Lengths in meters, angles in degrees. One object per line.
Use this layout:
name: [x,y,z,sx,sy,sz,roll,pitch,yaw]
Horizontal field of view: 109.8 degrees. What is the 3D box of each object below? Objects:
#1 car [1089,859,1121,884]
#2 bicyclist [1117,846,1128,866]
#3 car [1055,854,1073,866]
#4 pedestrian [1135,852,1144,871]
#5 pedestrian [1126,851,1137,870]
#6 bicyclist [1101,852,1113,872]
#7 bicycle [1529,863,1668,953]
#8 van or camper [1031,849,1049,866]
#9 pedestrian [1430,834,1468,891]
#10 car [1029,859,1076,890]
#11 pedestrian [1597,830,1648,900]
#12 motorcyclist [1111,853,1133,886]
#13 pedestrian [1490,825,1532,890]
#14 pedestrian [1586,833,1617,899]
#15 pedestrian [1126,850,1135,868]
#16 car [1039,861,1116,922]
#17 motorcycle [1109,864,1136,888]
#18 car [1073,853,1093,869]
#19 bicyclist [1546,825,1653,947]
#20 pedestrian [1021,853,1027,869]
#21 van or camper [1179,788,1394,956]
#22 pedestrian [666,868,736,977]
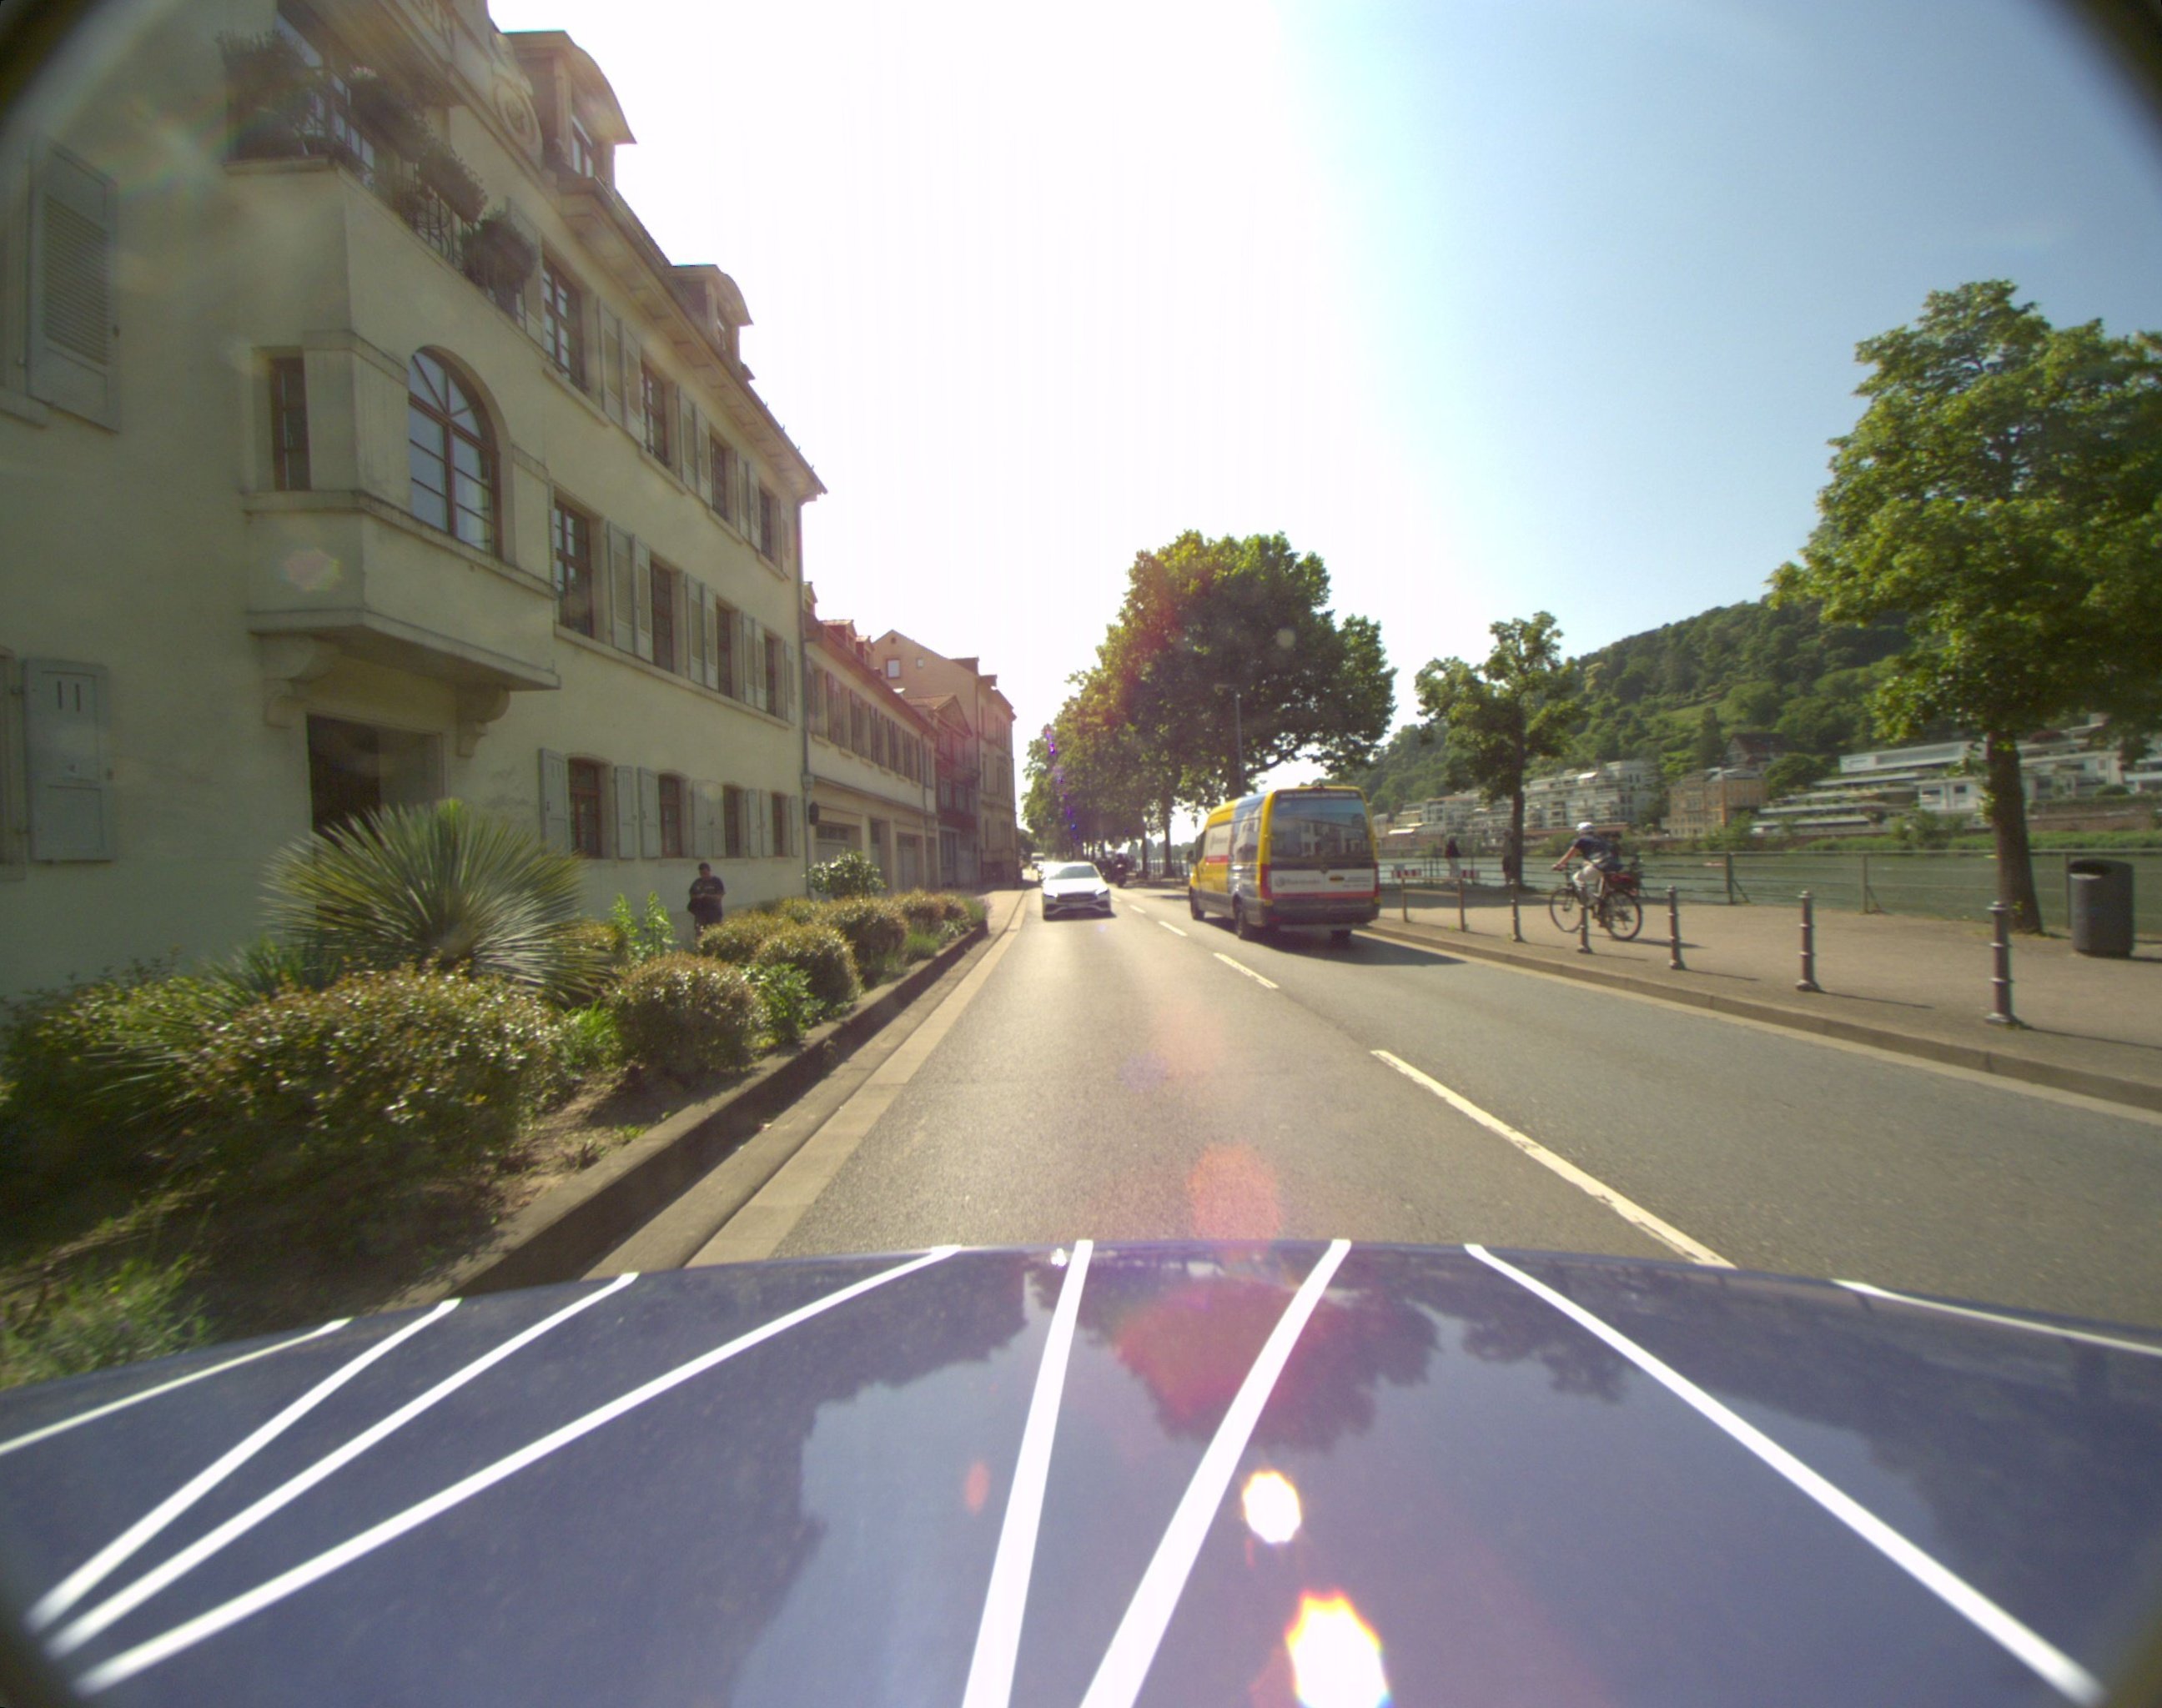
car: [1.488,1.077,48.524,1.706,1.450,4.000,-2,0,-3]
bicyclist: [3.437,0.181,62.933,0.721,1.574,1.089,-2,1,-2]
car: [-2.382,0.819,105.947,1.741,1.509,4.401,-5,1,-9]
pedestrian: [5.269,0.639,68.658,0.654,1.703,0.793,-1,0,-4]
pedestrian: [4.572,0.603,68.504,0.838,1.703,0.782,-1,0,-4]
bicyclist: [1.991,0.634,58.877,0.768,1.522,1.025,-4,-1,-2]
bicycle: [7.471,0.738,11.098,0.713,1.162,1.896,-3,0,1]
van or camper: [-6.027,0.477,111.038,2.438,2.271,6.201,-2,0,-4]
pedestrian: [11.511,0.260,23.762,0.758,1.673,0.658,-5,1,1]
car: [-1.436,1.042,39.789,1.875,1.415,4.746,-3,0,4]
pedestrian: [12.785,0.254,17.956,0.695,1.606,0.664,-2,1,4]
motorcyclist: [2.015,0.766,37.518,0.881,1.574,1.024,-2,1,-4]
pedestrian: [13.082,0.109,23.151,0.695,1.934,0.886,-2,1,-4]
pedestrian: [12.717,0.282,18.560,0.415,1.588,0.451,-2,1,4]
pedestrian: [5.115,0.521,78.116,0.713,1.754,0.972,-2,1,-4]
car: [-0.153,0.981,21.673,1.875,1.416,4.744,-3,0,-2]
motorcycle: [2.032,1.083,37.576,0.886,1.071,2.327,-3,-1,-7]
car: [0.200,0.708,75.585,1.706,1.436,4.091,-3,-1,-3]
bicyclist: [7.485,0.450,11.027,0.742,1.658,1.089,-2,0,-2]
pedestrian: [-6.047,0.767,80.900,0.528,1.702,0.665,-2,1,-4]
van or camper: [3.715,0.272,15.516,2.093,2.542,7.090,-3,0,-2]
pedestrian: [-6.149,1.088,12.327,0.763,1.703,0.696,1,1,0]
